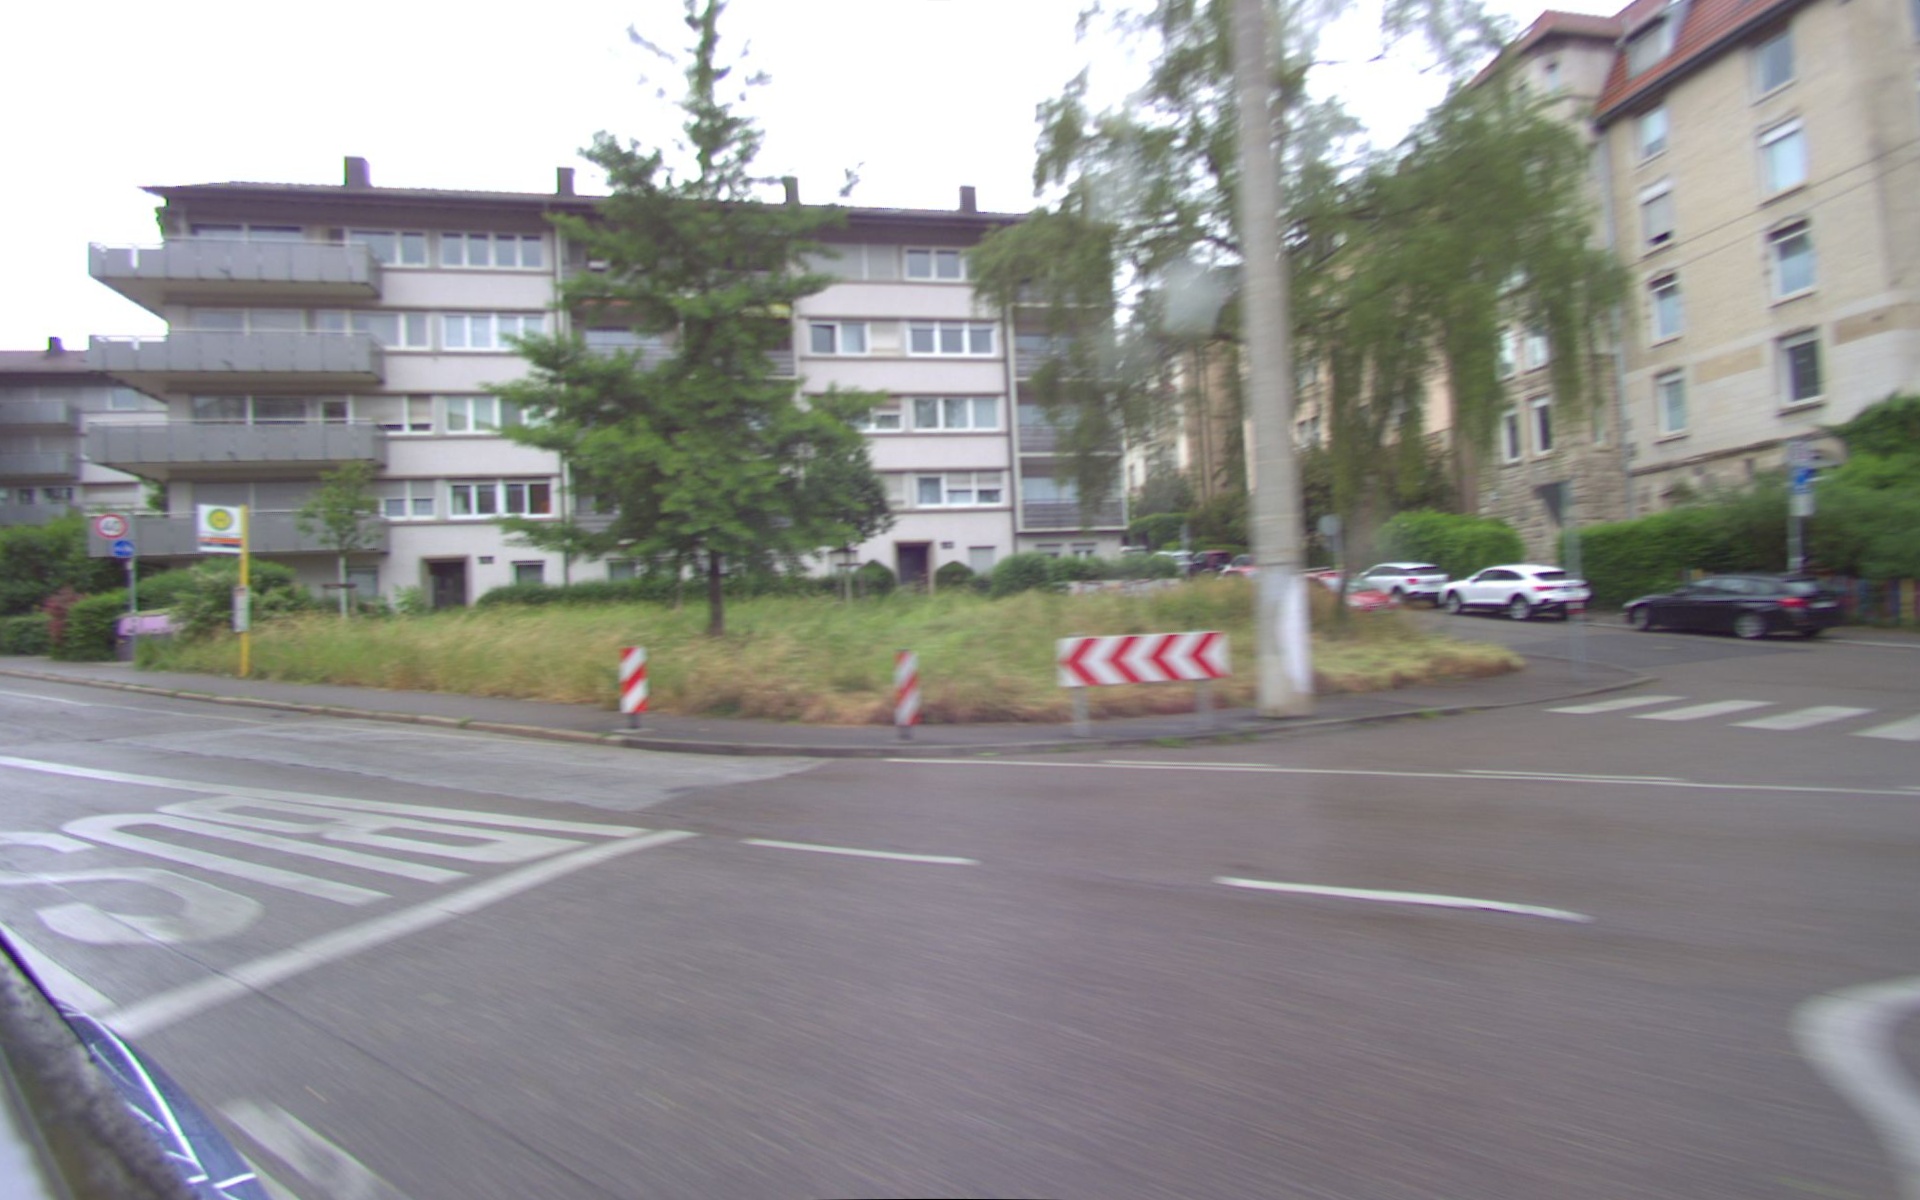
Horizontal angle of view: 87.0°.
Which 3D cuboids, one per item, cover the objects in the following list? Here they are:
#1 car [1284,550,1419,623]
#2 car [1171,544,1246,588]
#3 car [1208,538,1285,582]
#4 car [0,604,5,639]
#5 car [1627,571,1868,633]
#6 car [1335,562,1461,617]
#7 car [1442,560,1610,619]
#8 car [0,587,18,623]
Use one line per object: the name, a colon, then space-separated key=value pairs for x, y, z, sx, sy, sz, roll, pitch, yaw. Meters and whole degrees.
car: x=11.647 y=-0.365 z=30.409 sx=1.968 sy=2.029 sz=4.008 roll=-1 pitch=0 yaw=-10
car: x=12.210 y=-1.648 z=49.913 sx=1.967 sy=2.029 sz=4.010 roll=-1 pitch=0 yaw=-13
car: x=12.965 y=-1.793 z=45.961 sx=1.652 sy=1.848 sz=3.677 roll=-1 pitch=0 yaw=-15
car: x=-44.105 y=0.916 z=43.328 sx=1.768 sy=1.539 sz=4.396 roll=0 pitch=-1 yaw=31
car: x=18.009 y=-0.024 z=23.449 sx=1.725 sy=1.232 sz=4.366 roll=-1 pitch=2 yaw=-9
car: x=15.433 y=-0.338 z=35.901 sx=1.775 sy=1.849 sz=4.296 roll=0 pitch=0 yaw=-15
car: x=16.830 y=-0.386 z=30.400 sx=1.967 sy=1.605 sz=4.368 roll=-1 pitch=2 yaw=-13
car: x=-42.212 y=0.237 z=41.889 sx=1.843 sy=1.501 sz=4.448 roll=0 pitch=1 yaw=34
